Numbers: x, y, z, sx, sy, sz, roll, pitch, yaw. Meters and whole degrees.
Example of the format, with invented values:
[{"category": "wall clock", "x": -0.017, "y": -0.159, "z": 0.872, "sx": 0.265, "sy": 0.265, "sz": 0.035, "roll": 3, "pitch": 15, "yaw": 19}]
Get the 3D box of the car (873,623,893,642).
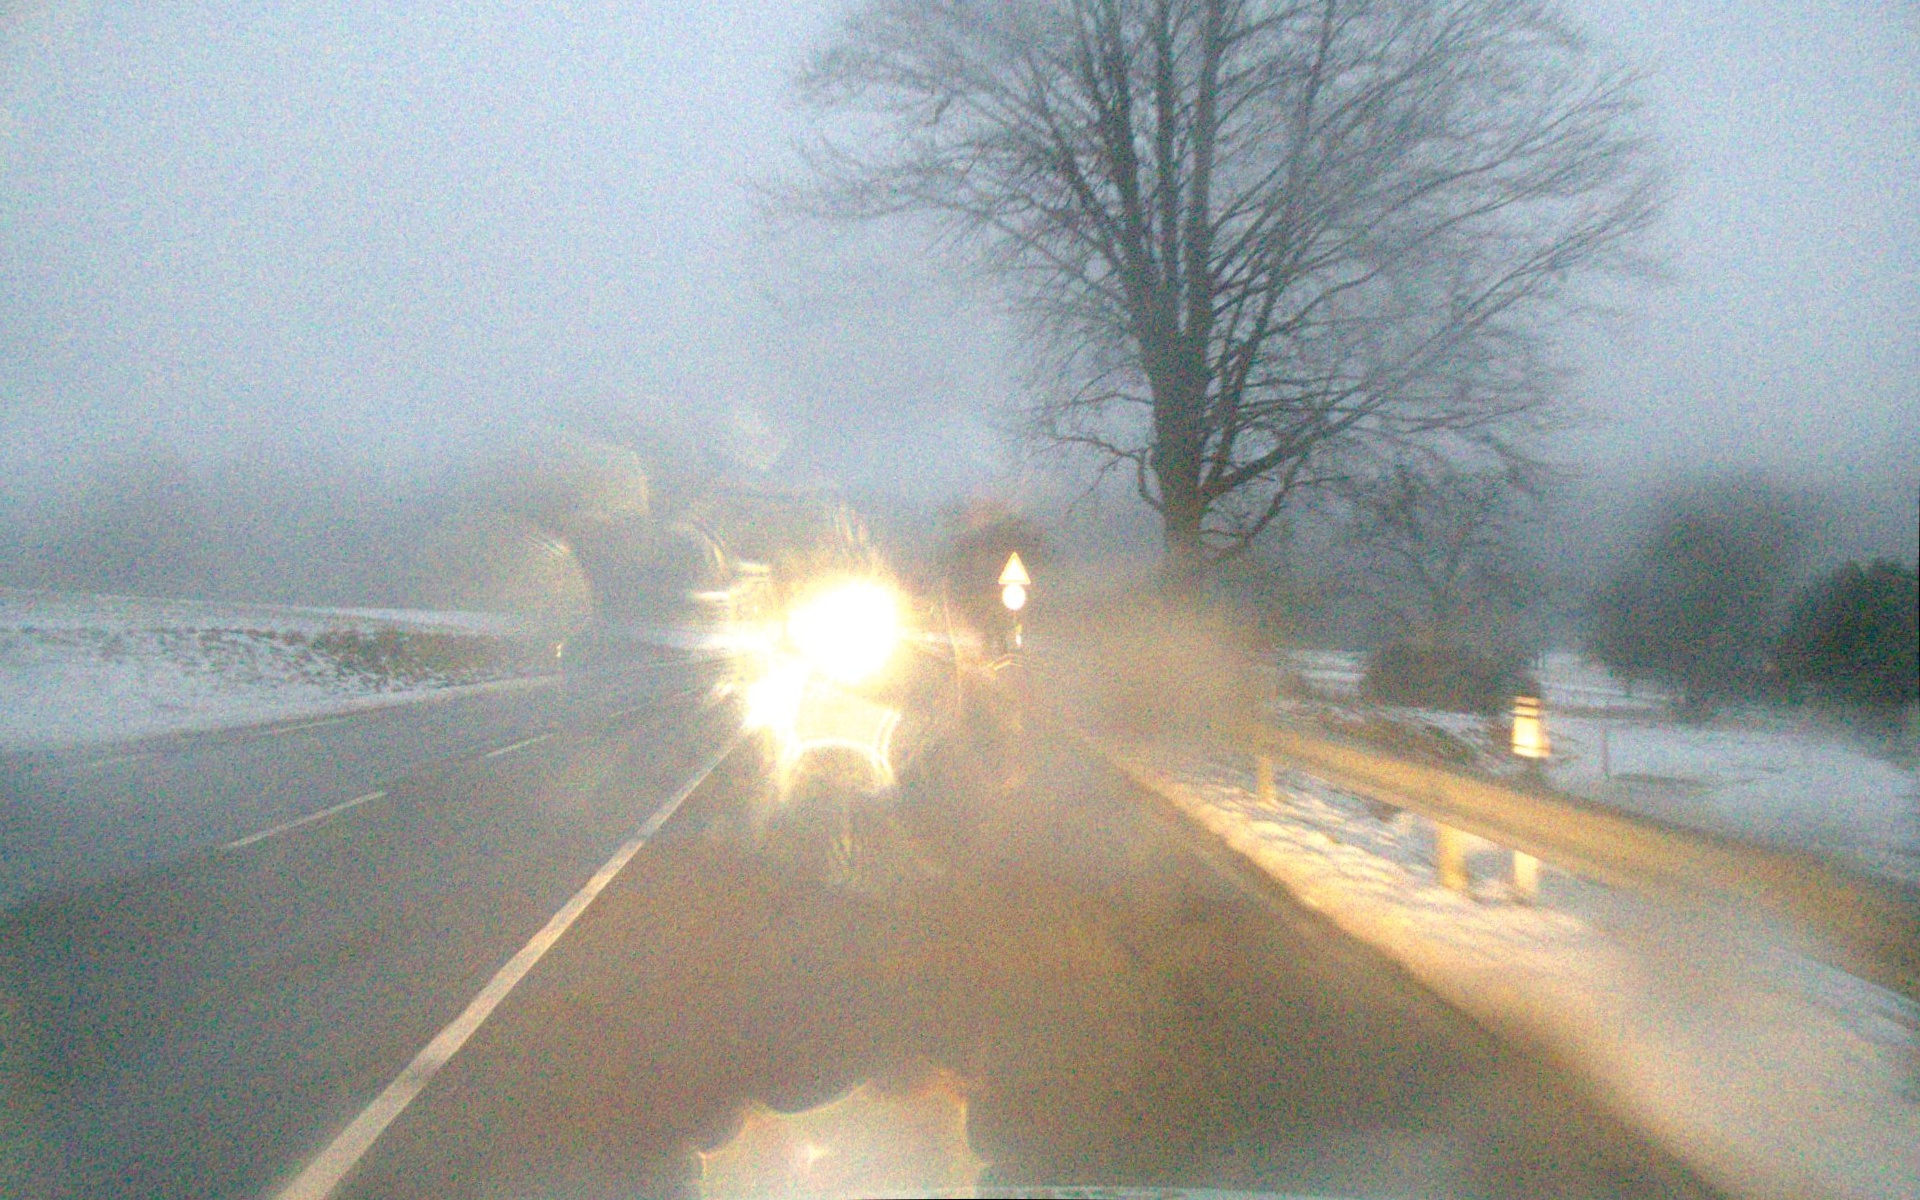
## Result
[{"category": "car", "x": -7.038, "y": 2.935, "z": 151.344, "sx": 1.657, "sy": 1.579, "sz": 3.856, "roll": 1, "pitch": 0, "yaw": 0}]
